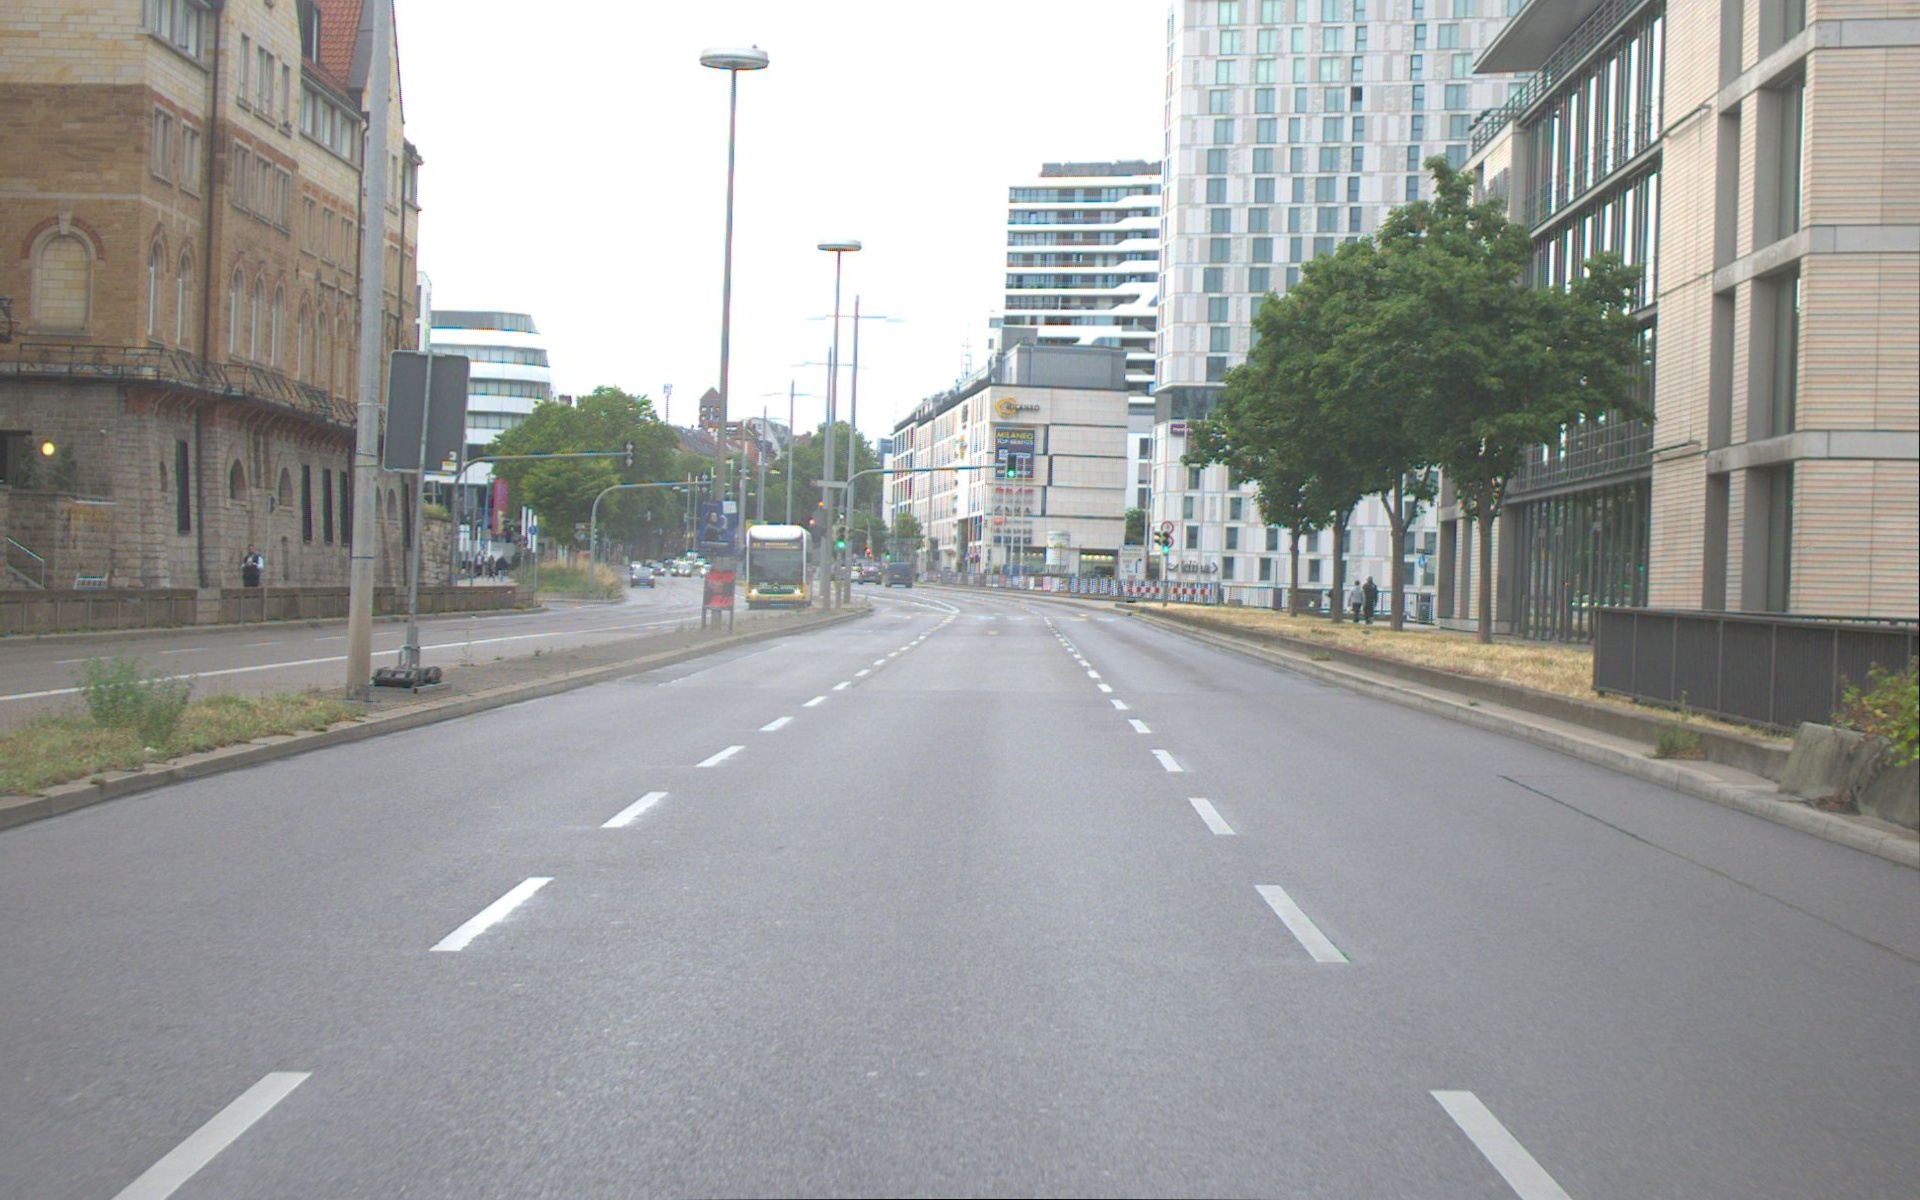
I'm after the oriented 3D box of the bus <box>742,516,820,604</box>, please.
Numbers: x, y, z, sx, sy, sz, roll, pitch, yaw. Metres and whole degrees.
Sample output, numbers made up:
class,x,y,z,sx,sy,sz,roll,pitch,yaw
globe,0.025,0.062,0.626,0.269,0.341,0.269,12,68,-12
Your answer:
class,x,y,z,sx,sy,sz,roll,pitch,yaw
bus,-7.491,-1.680,145.007,2.698,3.547,10.094,1,1,0

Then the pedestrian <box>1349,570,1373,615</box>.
class,x,y,z,sx,sy,sz,roll,pitch,yaw
pedestrian,14.251,-0.253,122.133,0.550,1.572,0.669,2,2,35

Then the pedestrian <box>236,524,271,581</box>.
class,x,y,z,sx,sy,sz,roll,pitch,yaw
pedestrian,-18.552,-1.257,90.268,0.754,1.472,0.714,1,2,0

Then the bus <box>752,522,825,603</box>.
class,x,y,z,sx,sy,sz,roll,pitch,yaw
bus,-7.742,-1.734,156.212,2.698,3.547,10.094,1,1,0
